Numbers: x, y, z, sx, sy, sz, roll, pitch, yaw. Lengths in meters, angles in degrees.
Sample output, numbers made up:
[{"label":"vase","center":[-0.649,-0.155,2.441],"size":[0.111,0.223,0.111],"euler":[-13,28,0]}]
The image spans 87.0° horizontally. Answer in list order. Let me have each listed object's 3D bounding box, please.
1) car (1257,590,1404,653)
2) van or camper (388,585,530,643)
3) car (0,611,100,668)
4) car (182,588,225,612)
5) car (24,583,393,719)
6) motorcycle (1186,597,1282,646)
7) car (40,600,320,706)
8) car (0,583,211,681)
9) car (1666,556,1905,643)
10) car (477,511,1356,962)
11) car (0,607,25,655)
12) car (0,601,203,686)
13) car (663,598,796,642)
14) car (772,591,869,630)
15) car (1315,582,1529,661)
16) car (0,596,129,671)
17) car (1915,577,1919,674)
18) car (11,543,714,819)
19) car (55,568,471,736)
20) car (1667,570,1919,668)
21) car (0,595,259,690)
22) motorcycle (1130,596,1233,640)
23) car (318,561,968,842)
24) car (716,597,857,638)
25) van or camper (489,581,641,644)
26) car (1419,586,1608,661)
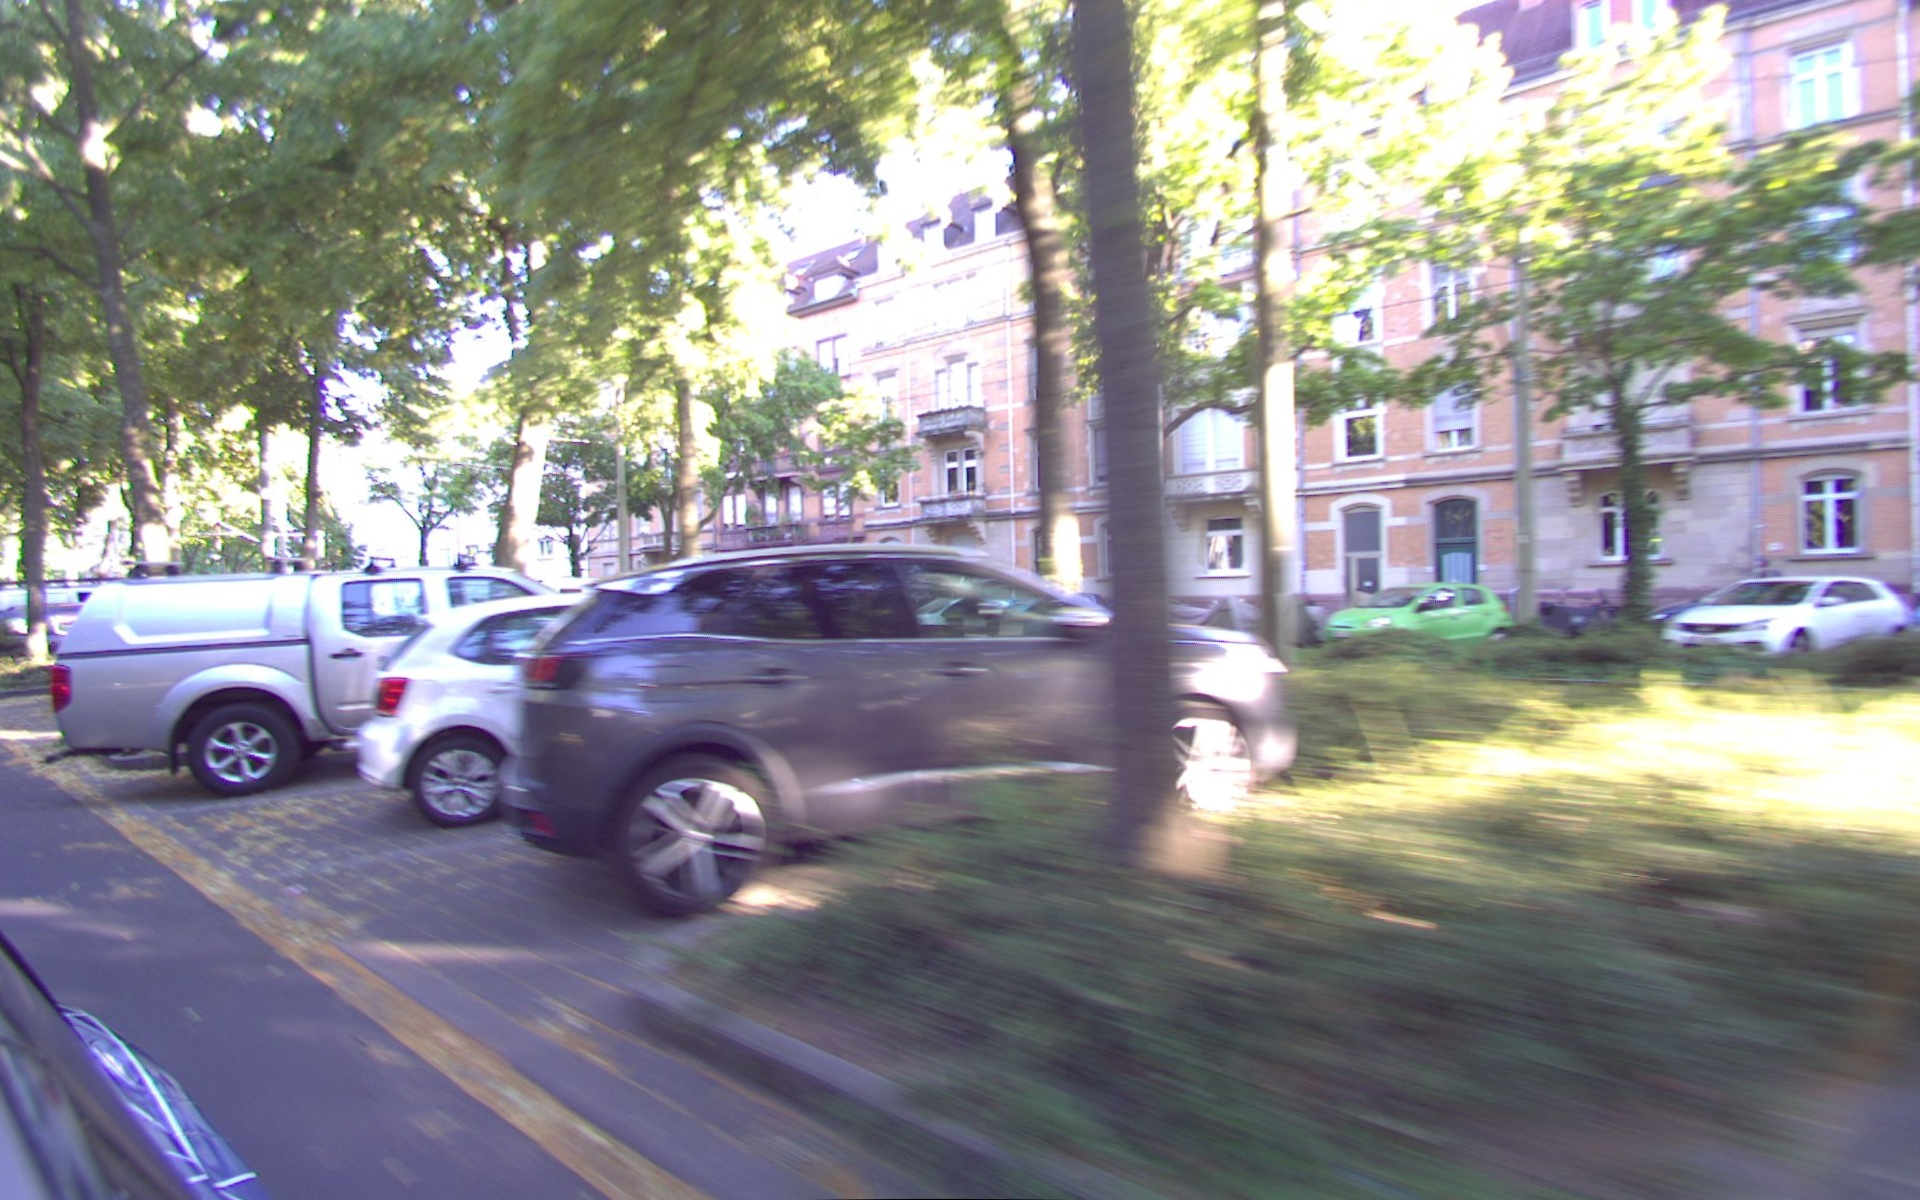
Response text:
[{"label":"car","center":[10.547,0.621,28.886],"size":[3.504,1.594,1.833],"euler":[-3,2,39]},{"label":"van or camper","center":[-22.338,0.611,45.341],"size":[5.579,2.487,2.006],"euler":[0,-1,-26]},{"label":"car","center":[-29.793,1.295,31.232],"size":[4.494,1.552,1.941],"euler":[-4,2,-17]},{"label":"car","center":[-67.953,0.044,90.847],"size":[3.991,2.029,1.976],"euler":[-2,-1,36]},{"label":"car","center":[-11.361,0.686,15.669],"size":[4.090,1.656,1.921],"euler":[-4,2,-16]},{"label":"motorcycle","center":[5.733,0.435,21.159],"size":[1.697,0.962,1.023],"euler":[-1,0,-30]},{"label":"car","center":[-13.421,0.853,17.669],"size":[3.369,1.436,1.840],"euler":[-4,2,-18]},{"label":"car","center":[-22.641,0.799,25.611],"size":[5.420,2.152,2.088],"euler":[-4,2,-20]},{"label":"car","center":[18.359,0.016,22.725],"size":[3.995,1.789,1.777],"euler":[-1,0,38]},{"label":"car","center":[-0.212,0.463,5.677],"size":[4.283,1.638,1.948],"euler":[-4,2,-21]},{"label":"car","center":[-43.490,1.481,43.137],"size":[4.802,1.992,2.052],"euler":[-4,2,-21]},{"label":"car","center":[-20.593,1.003,23.484],"size":[4.442,1.628,1.941],"euler":[-4,2,-25]},{"label":"car","center":[-7.657,0.651,33.608],"size":[4.116,1.320,1.641],"euler":[-1,0,-21]},{"label":"car","center":[-5.949,0.489,42.890],"size":[4.019,1.543,1.833],"euler":[-2,-3,39]},{"label":"car","center":[9.004,0.388,19.741],"size":[3.674,1.391,1.713],"euler":[-1,0,-23]},{"label":"car","center":[-27.547,1.024,29.508],"size":[4.634,1.957,1.941],"euler":[-4,2,-17]},{"label":"car","center":[15.874,0.311,14.332],"size":[4.215,1.391,1.599],"euler":[-1,0,-19]},{"label":"car","center":[-4.937,0.531,9.210],"size":[4.916,1.794,1.994],"euler":[-4,2,-21]},{"label":"car","center":[-9.056,0.593,13.558],"size":[4.092,1.794,1.889],"euler":[-4,2,-12]},{"label":"car","center":[13.355,0.267,16.170],"size":[3.674,1.391,1.733],"euler":[-1,0,-25]},{"label":"car","center":[-17.968,0.865,21.652],"size":[4.443,1.628,1.860],"euler":[-4,2,-17]},{"label":"motorcycle","center":[4.842,0.386,22.204],"size":[1.944,0.895,1.023],"euler":[-1,0,-13]},{"label":"car","center":[-2.208,0.568,7.619],"size":[4.089,1.470,1.777],"euler":[-4,2,-21]},{"label":"car","center":[-5.430,0.529,31.693],"size":[4.131,1.176,1.504],"euler":[-1,0,-22]},{"label":"van or camper","center":[-15.542,0.469,39.962],"size":[5.455,2.389,2.315],"euler":[0,-1,-22]},{"label":"car","center":[14.124,0.599,25.936],"size":[3.995,1.789,1.777],"euler":[-2,-1,38]}]
